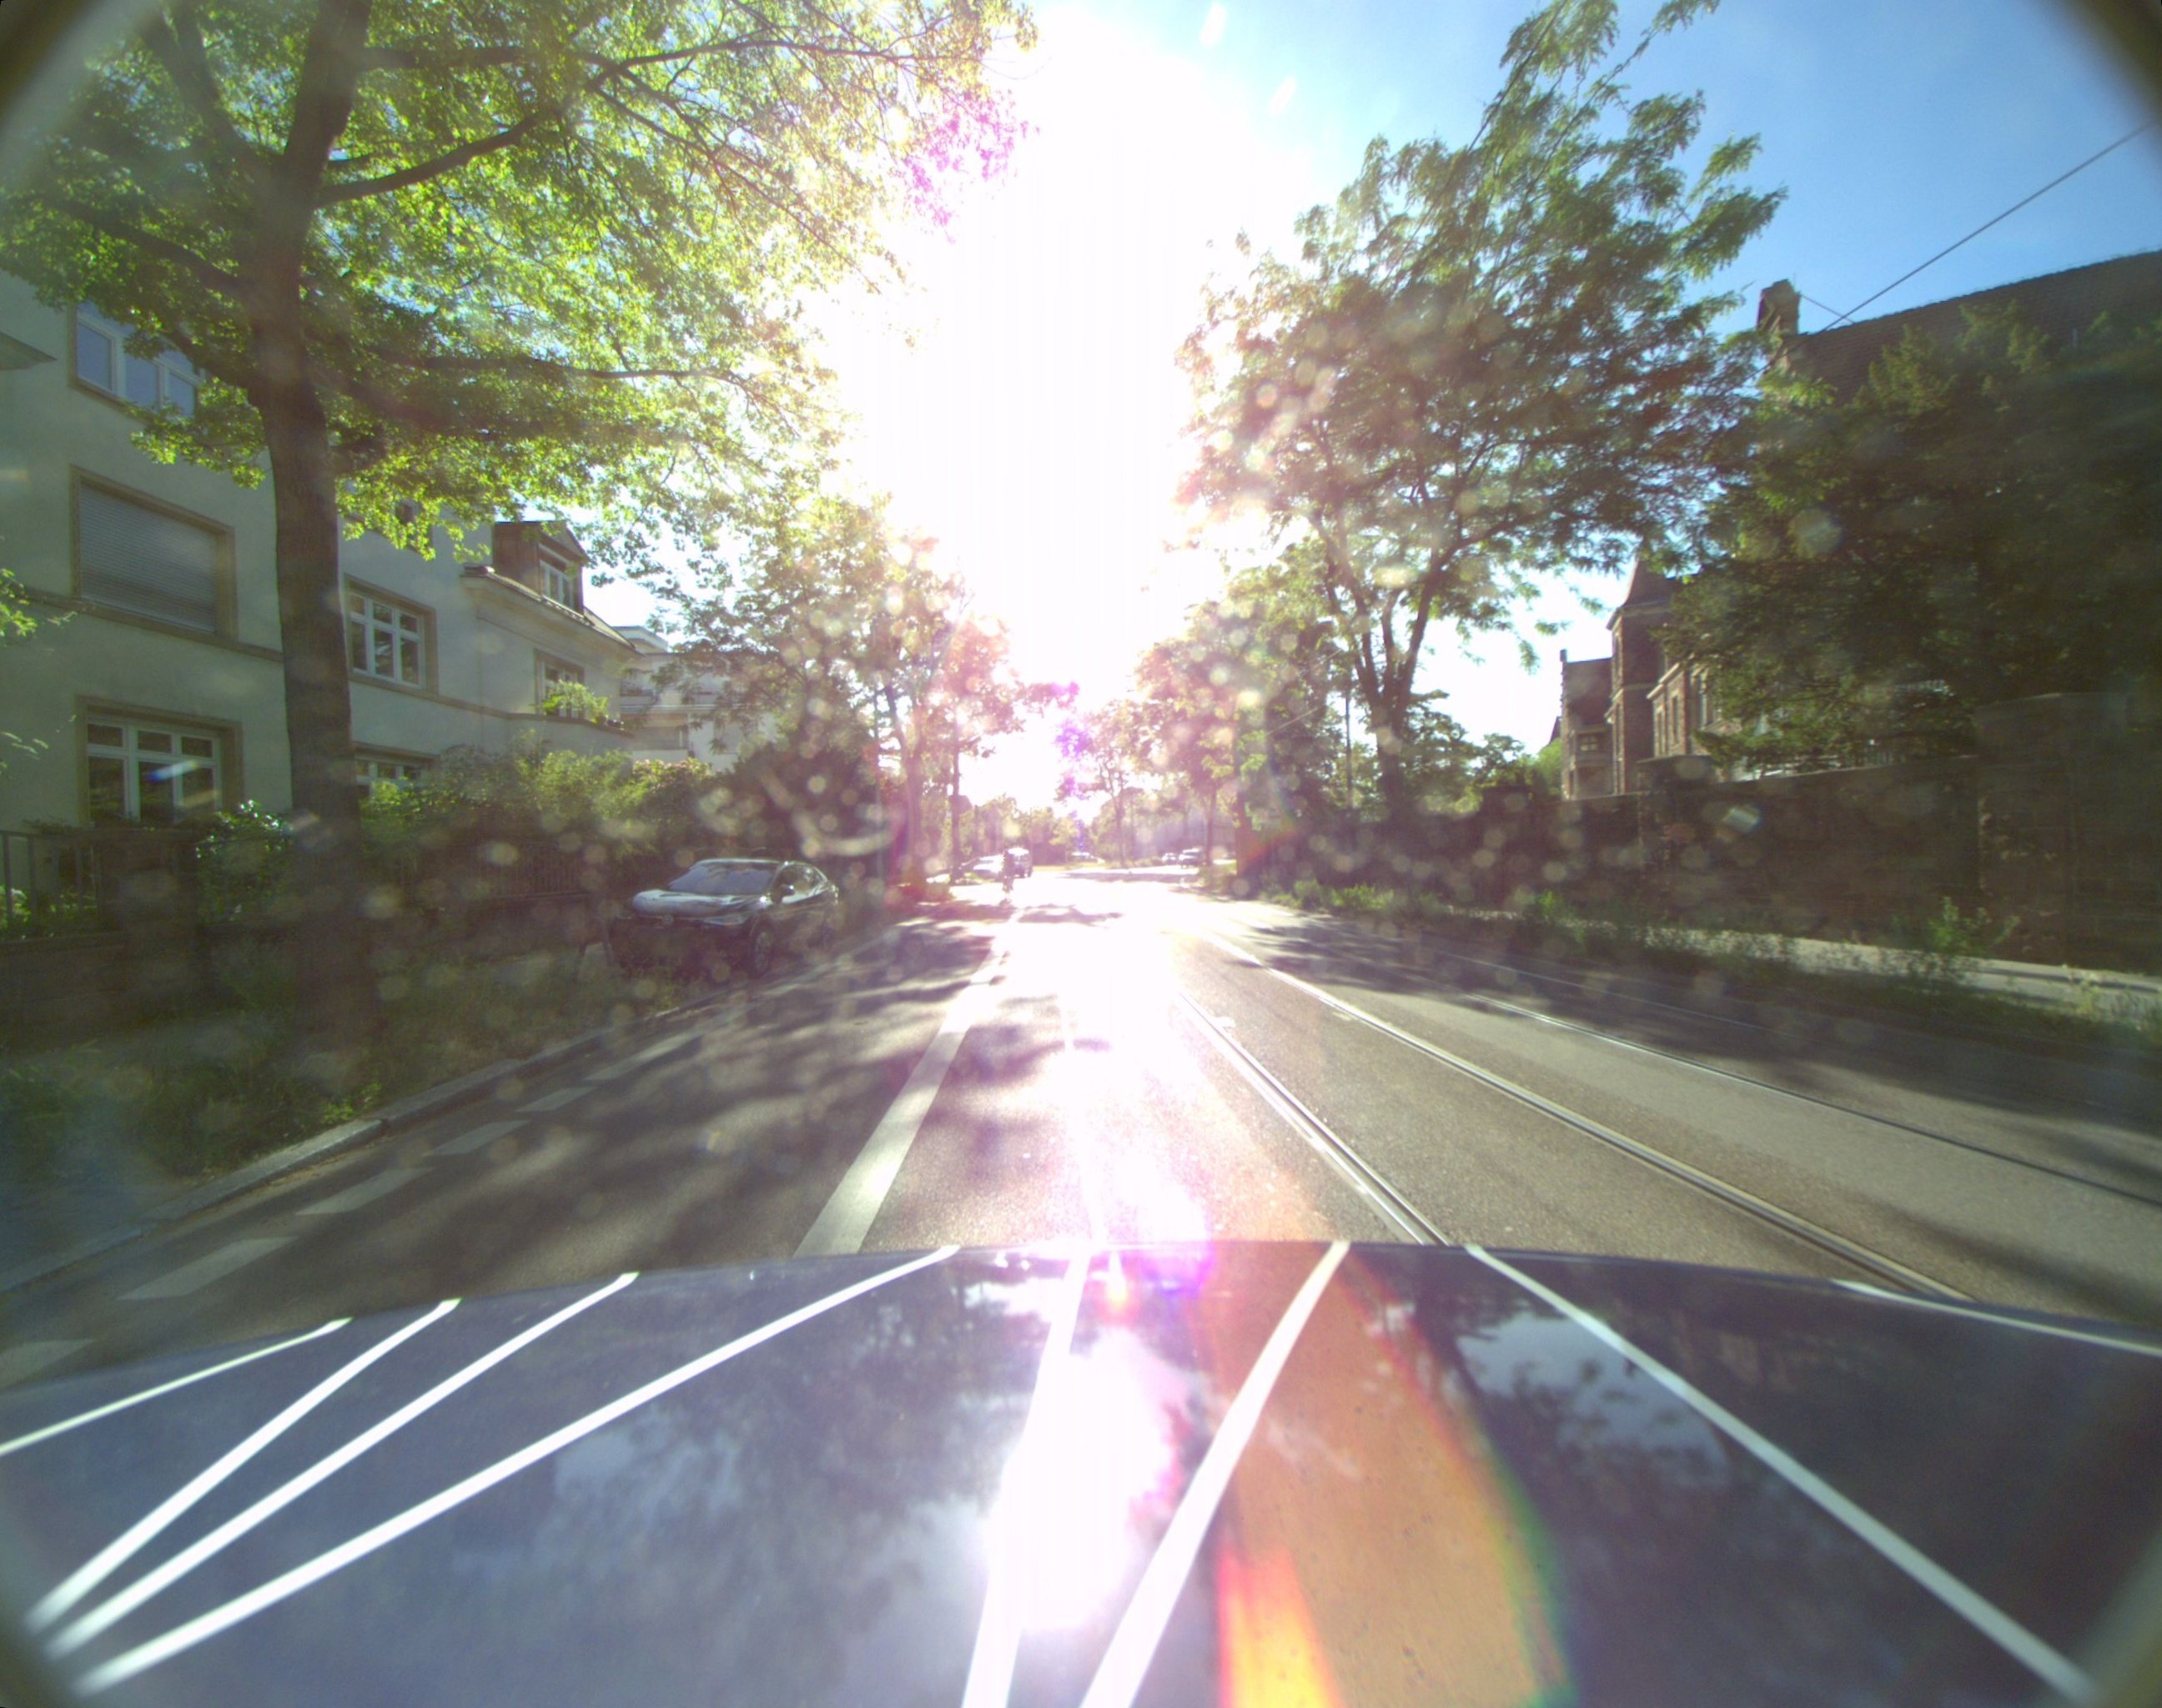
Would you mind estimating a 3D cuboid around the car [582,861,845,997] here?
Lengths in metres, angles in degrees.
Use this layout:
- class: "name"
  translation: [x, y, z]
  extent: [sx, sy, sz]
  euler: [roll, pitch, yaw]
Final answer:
- class: "car"
  translation: [-5.202, 0.950, 11.519]
  extent: [1.919, 1.590, 4.258]
  euler: [2, 0, -1]

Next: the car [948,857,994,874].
- class: "car"
  translation: [-10.057, 1.044, 69.549]
  extent: [3.998, 1.433, 1.813]
  euler: [-2, 0, -3]

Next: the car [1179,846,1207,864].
- class: "car"
  translation: [12.025, 0.096, 81.197]
  extent: [1.874, 1.805, 4.974]
  euler: [-1, 0, 20]

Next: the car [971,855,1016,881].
- class: "car"
  translation: [-5.175, 0.794, 45.345]
  extent: [1.901, 1.402, 4.260]
  euler: [-1, 0, 4]

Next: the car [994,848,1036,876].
- class: "car"
  translation: [-4.414, 0.505, 51.701]
  extent: [1.900, 1.775, 4.670]
  euler: [-1, 0, 6]

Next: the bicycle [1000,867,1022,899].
- class: "bicycle"
  translation: [-2.565, 1.045, 27.857]
  extent: [0.588, 1.105, 1.855]
  euler: [-2, 0, 1]

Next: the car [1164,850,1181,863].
- class: "car"
  translation: [11.894, 0.309, 98.735]
  extent: [1.997, 1.539, 4.002]
  euler: [-2, 0, 8]

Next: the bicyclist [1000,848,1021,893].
- class: "bicyclist"
  translation: [-2.587, 0.596, 27.827]
  extent: [0.644, 1.632, 0.665]
  euler: [-2, 1, 0]

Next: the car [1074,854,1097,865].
- class: "car"
  translation: [0.726, 0.910, 128.802]
  extent: [3.908, 1.683, 1.905]
  euler: [-2, 1, -1]
